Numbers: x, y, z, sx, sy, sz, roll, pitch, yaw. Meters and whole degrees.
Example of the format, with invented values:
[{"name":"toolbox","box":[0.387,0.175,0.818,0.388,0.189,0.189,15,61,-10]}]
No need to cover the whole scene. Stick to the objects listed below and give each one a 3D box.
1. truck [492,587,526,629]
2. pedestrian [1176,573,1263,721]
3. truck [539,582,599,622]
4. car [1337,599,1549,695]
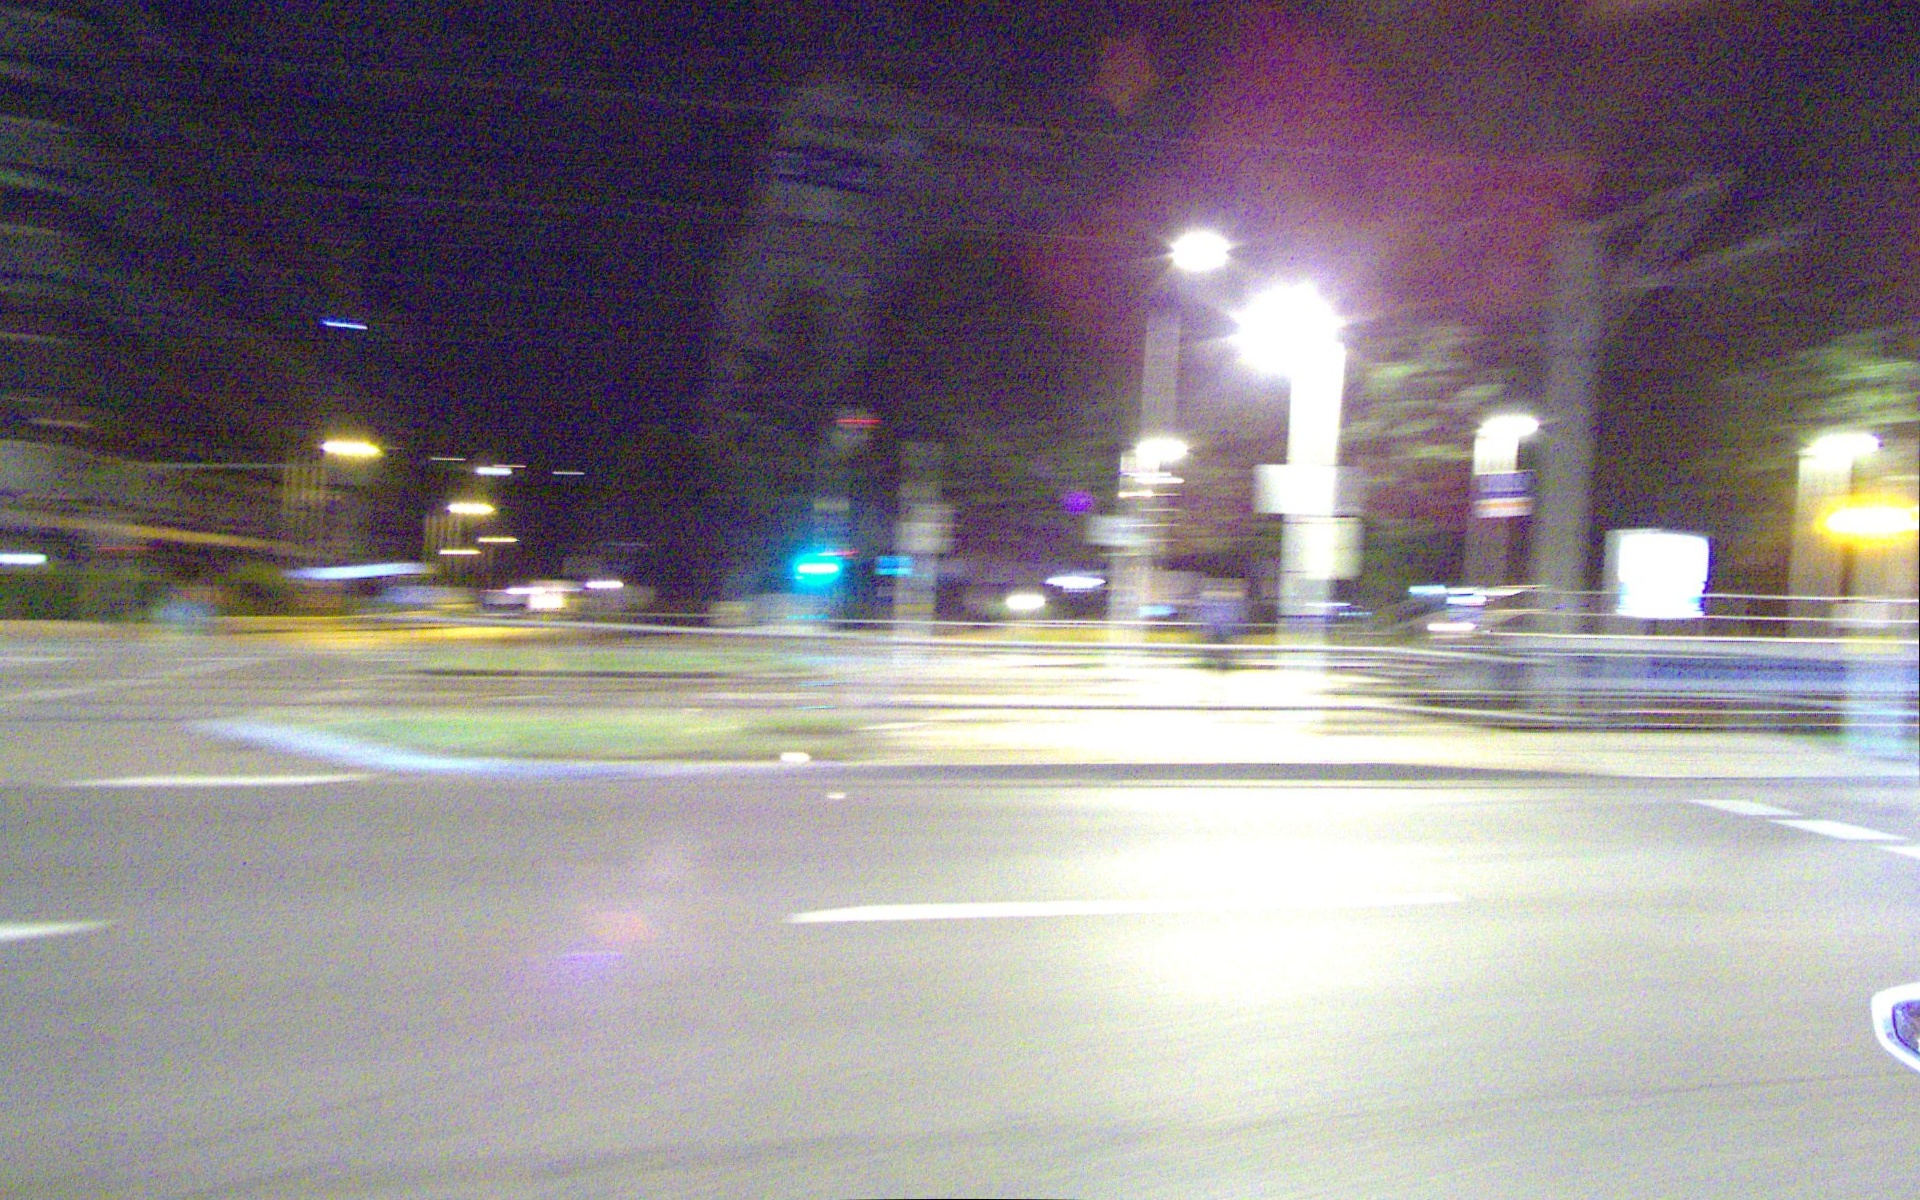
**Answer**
[{"name":"truck","box":[-42.994,0.760,95.918,2.554,3.756,5.708,3,-1,-22]},{"name":"pedestrian","box":[3.216,0.556,12.487,0.744,1.768,0.831,-1,1,-14]},{"name":"truck","box":[-49.610,0.165,127.140,4.786,4.607,12.555,3,-1,-32]},{"name":"car","box":[10.949,1.026,22.934,3.927,2.040,1.997,0,-1,-9]}]
